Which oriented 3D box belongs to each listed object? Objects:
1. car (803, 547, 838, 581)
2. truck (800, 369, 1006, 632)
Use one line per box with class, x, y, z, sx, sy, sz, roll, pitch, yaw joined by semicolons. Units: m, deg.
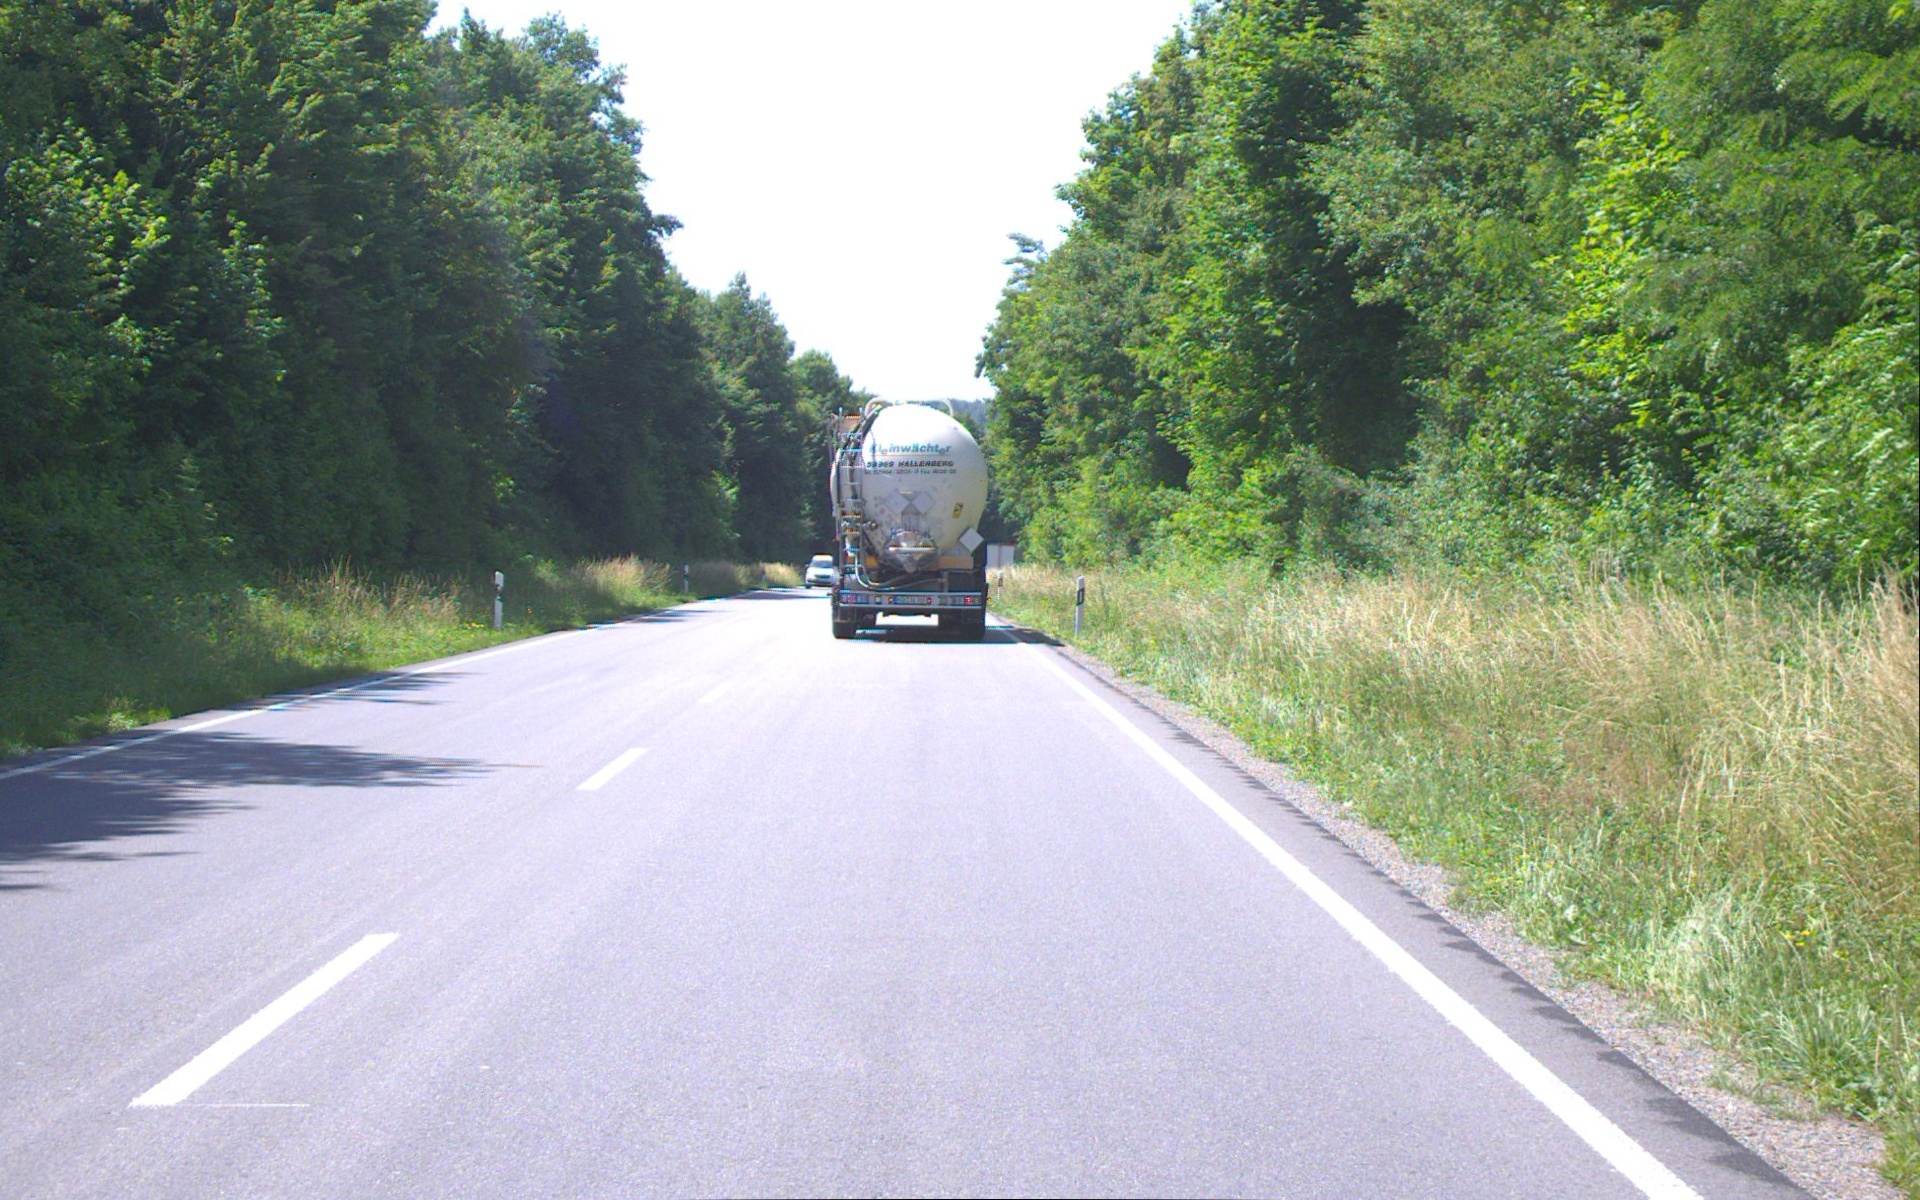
car;-6.601;-1.712;163.330;1.512;1.587;3.793;1;1;0
truck;-1.166;-1.617;61.836;3.049;3.984;15.638;3;0;-2
